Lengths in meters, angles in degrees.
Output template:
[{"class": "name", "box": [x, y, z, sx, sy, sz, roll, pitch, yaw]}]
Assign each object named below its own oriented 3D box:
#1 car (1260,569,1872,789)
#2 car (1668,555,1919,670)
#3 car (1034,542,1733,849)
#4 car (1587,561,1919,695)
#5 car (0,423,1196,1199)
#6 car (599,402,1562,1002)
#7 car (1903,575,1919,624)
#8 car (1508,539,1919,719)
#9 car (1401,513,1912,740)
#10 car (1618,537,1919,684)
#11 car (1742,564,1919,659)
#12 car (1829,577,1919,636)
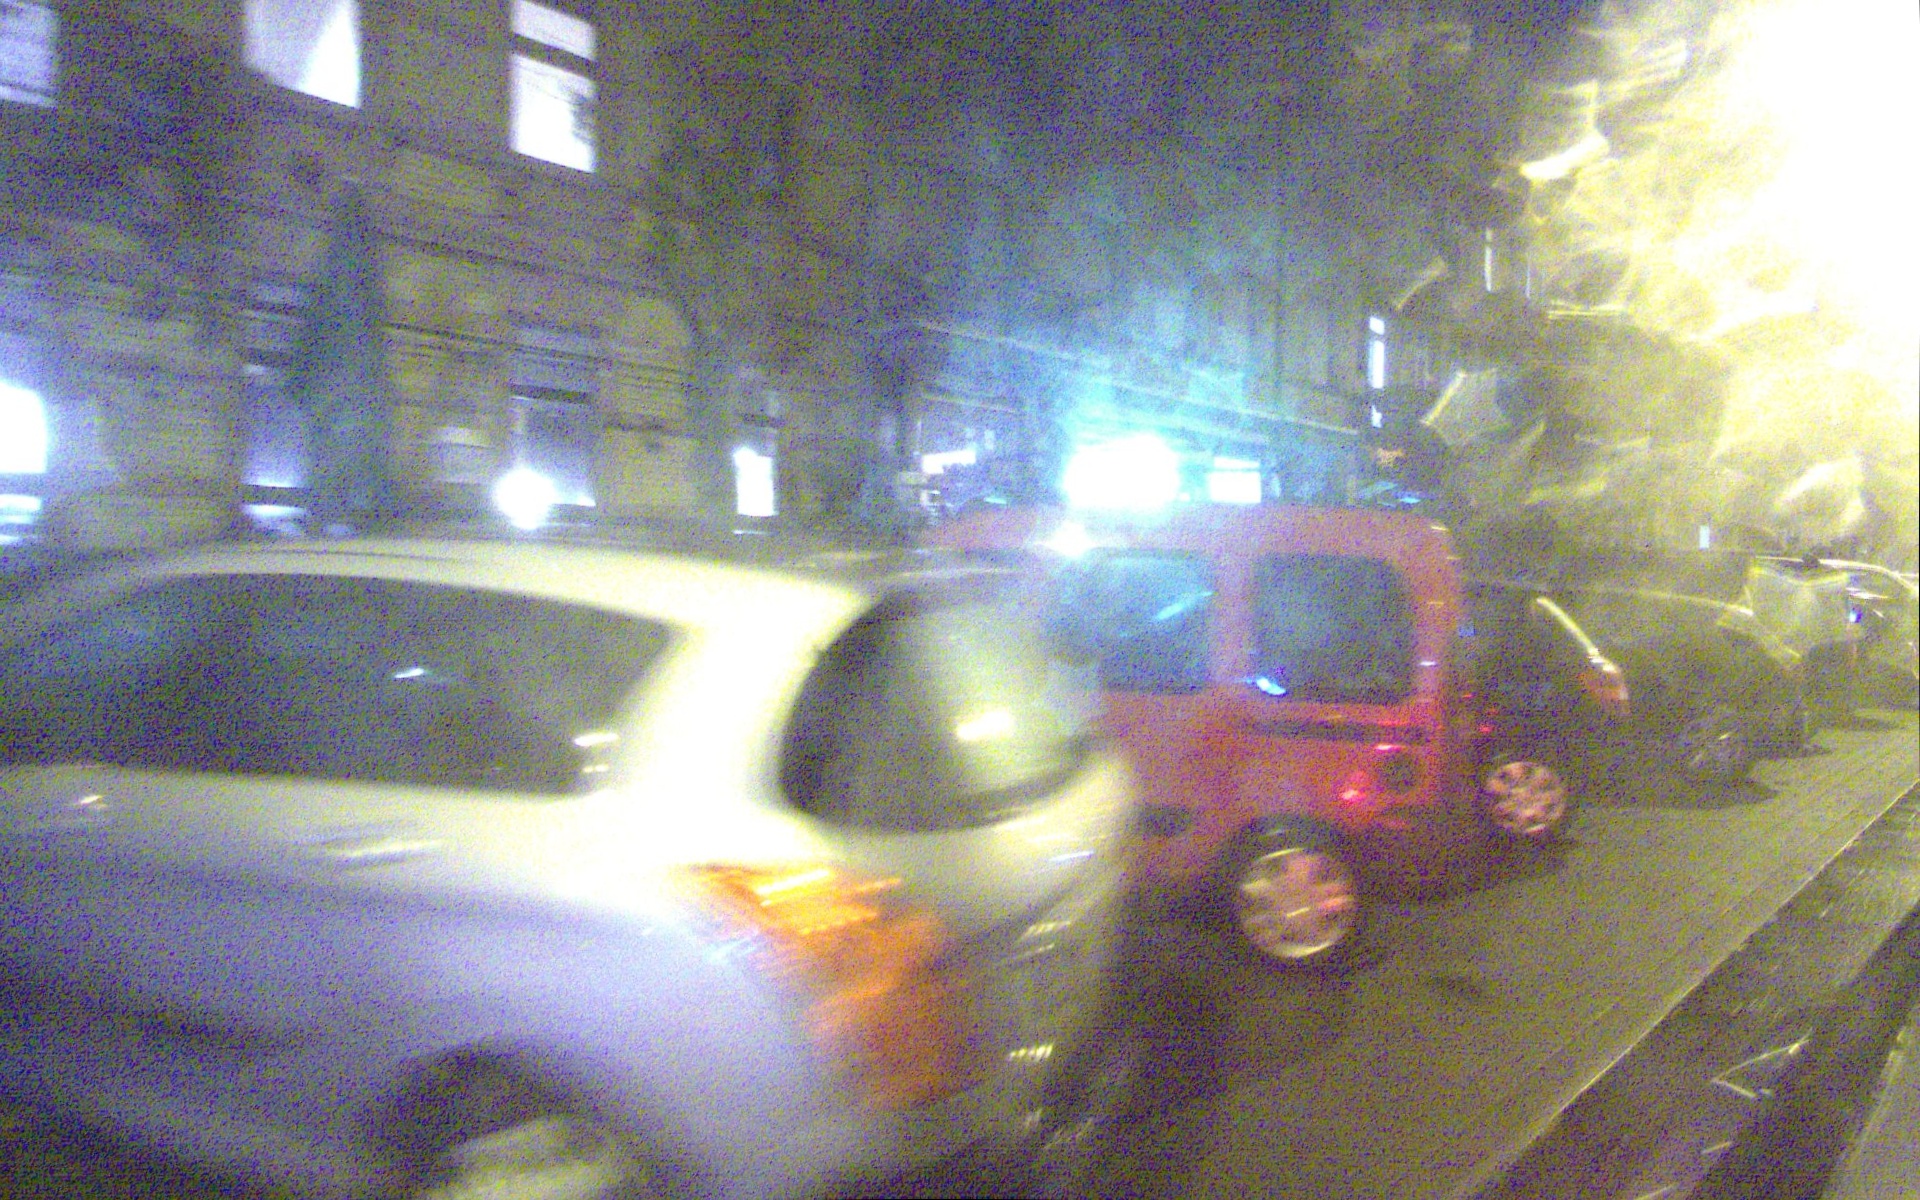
[{"class": "car", "box": [4.623, 0.518, 8.411, 3.999, 1.471, 1.671, 1, 1, 15]}, {"class": "car", "box": [15.142, 0.171, 17.999, 3.899, 1.763, 1.694, 4, 3, 28]}, {"class": "car", "box": [2.474, 0.434, 6.610, 3.657, 1.470, 1.649, 3, 3, 19]}, {"class": "car", "box": [11.212, 0.323, 14.016, 3.880, 1.568, 1.735, 3, 3, 17]}, {"class": "car", "box": [-1.533, 0.448, 2.907, 4.027, 1.617, 1.821, 3, 3, 23]}, {"class": "car", "box": [0.427, 0.230, 4.767, 3.687, 2.053, 1.714, 3, 3, 15]}, {"class": "car", "box": [32.924, 0.087, 32.146, 3.897, 1.581, 1.695, 4, 3, 27]}, {"class": "car", "box": [9.017, 0.264, 12.120, 3.875, 1.814, 1.737, 3, 3, 13]}, {"class": "car", "box": [6.896, 0.170, 10.513, 3.875, 1.966, 1.737, 3, 3, 13]}, {"class": "car", "box": [13.256, 0.123, 15.716, 4.656, 2.004, 1.966, 3, 3, 21]}, {"class": "car", "box": [17.548, 0.215, 19.245, 3.899, 1.639, 1.694, 4, 3, 28]}, {"class": "car", "box": [25.940, 0.215, 26.913, 3.897, 1.481, 1.695, 4, 3, 27]}]
